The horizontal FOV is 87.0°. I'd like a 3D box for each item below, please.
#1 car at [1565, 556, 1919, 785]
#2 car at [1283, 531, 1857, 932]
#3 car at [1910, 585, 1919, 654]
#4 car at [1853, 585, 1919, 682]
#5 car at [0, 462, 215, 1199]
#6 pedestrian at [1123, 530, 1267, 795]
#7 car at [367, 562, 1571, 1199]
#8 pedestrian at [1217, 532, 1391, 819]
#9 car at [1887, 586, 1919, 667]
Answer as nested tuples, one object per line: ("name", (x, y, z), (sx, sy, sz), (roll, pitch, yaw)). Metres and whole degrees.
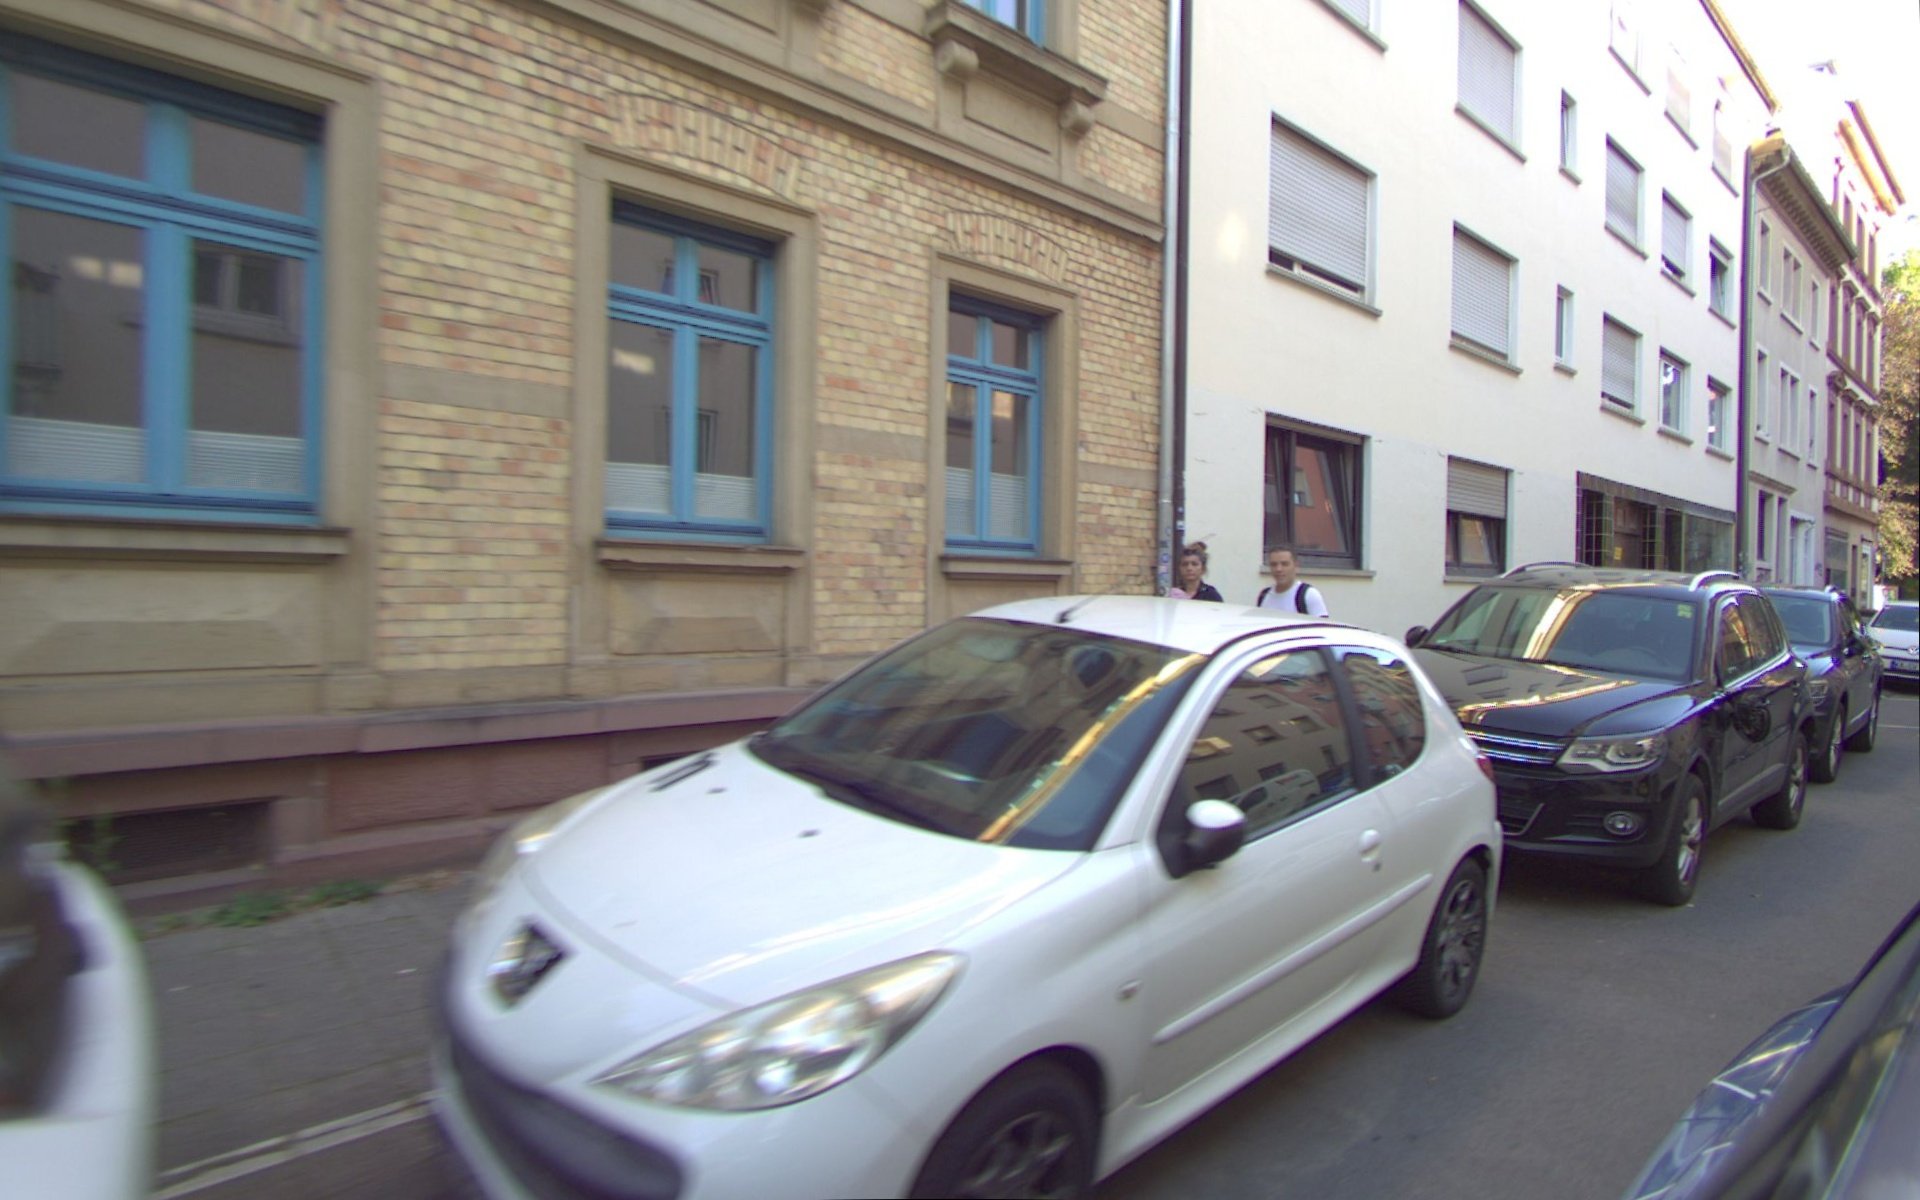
("car", (7.740, 0.493, 9.871), (4.253, 1.686, 1.885), (-1, 4, -41))
("car", (4.040, 0.508, 6.389), (4.252, 1.686, 1.770), (-1, 4, -40))
("car", (23.820, 0.480, 23.759), (4.032, 1.552, 1.768), (-1, 4, -41))
("car", (17.364, 0.562, 17.922), (4.032, 1.535, 1.768), (-1, 4, -41))
("car", (-2.703, 0.659, 0.461), (3.698, 1.605, 1.596), (0, 2, -41))
("pedestrian", (1.645, 0.399, 7.095), (0.694, 1.729, 0.598), (0, 4, -41))
("car", (0.469, 0.673, 3.338), (3.936, 1.468, 1.596), (-1, 5, -44))
("pedestrian", (2.257, 0.446, 6.654), (0.739, 1.729, 0.712), (0, 4, -41))
("car", (20.579, 0.538, 20.798), (4.032, 1.552, 1.768), (-1, 4, -41))
